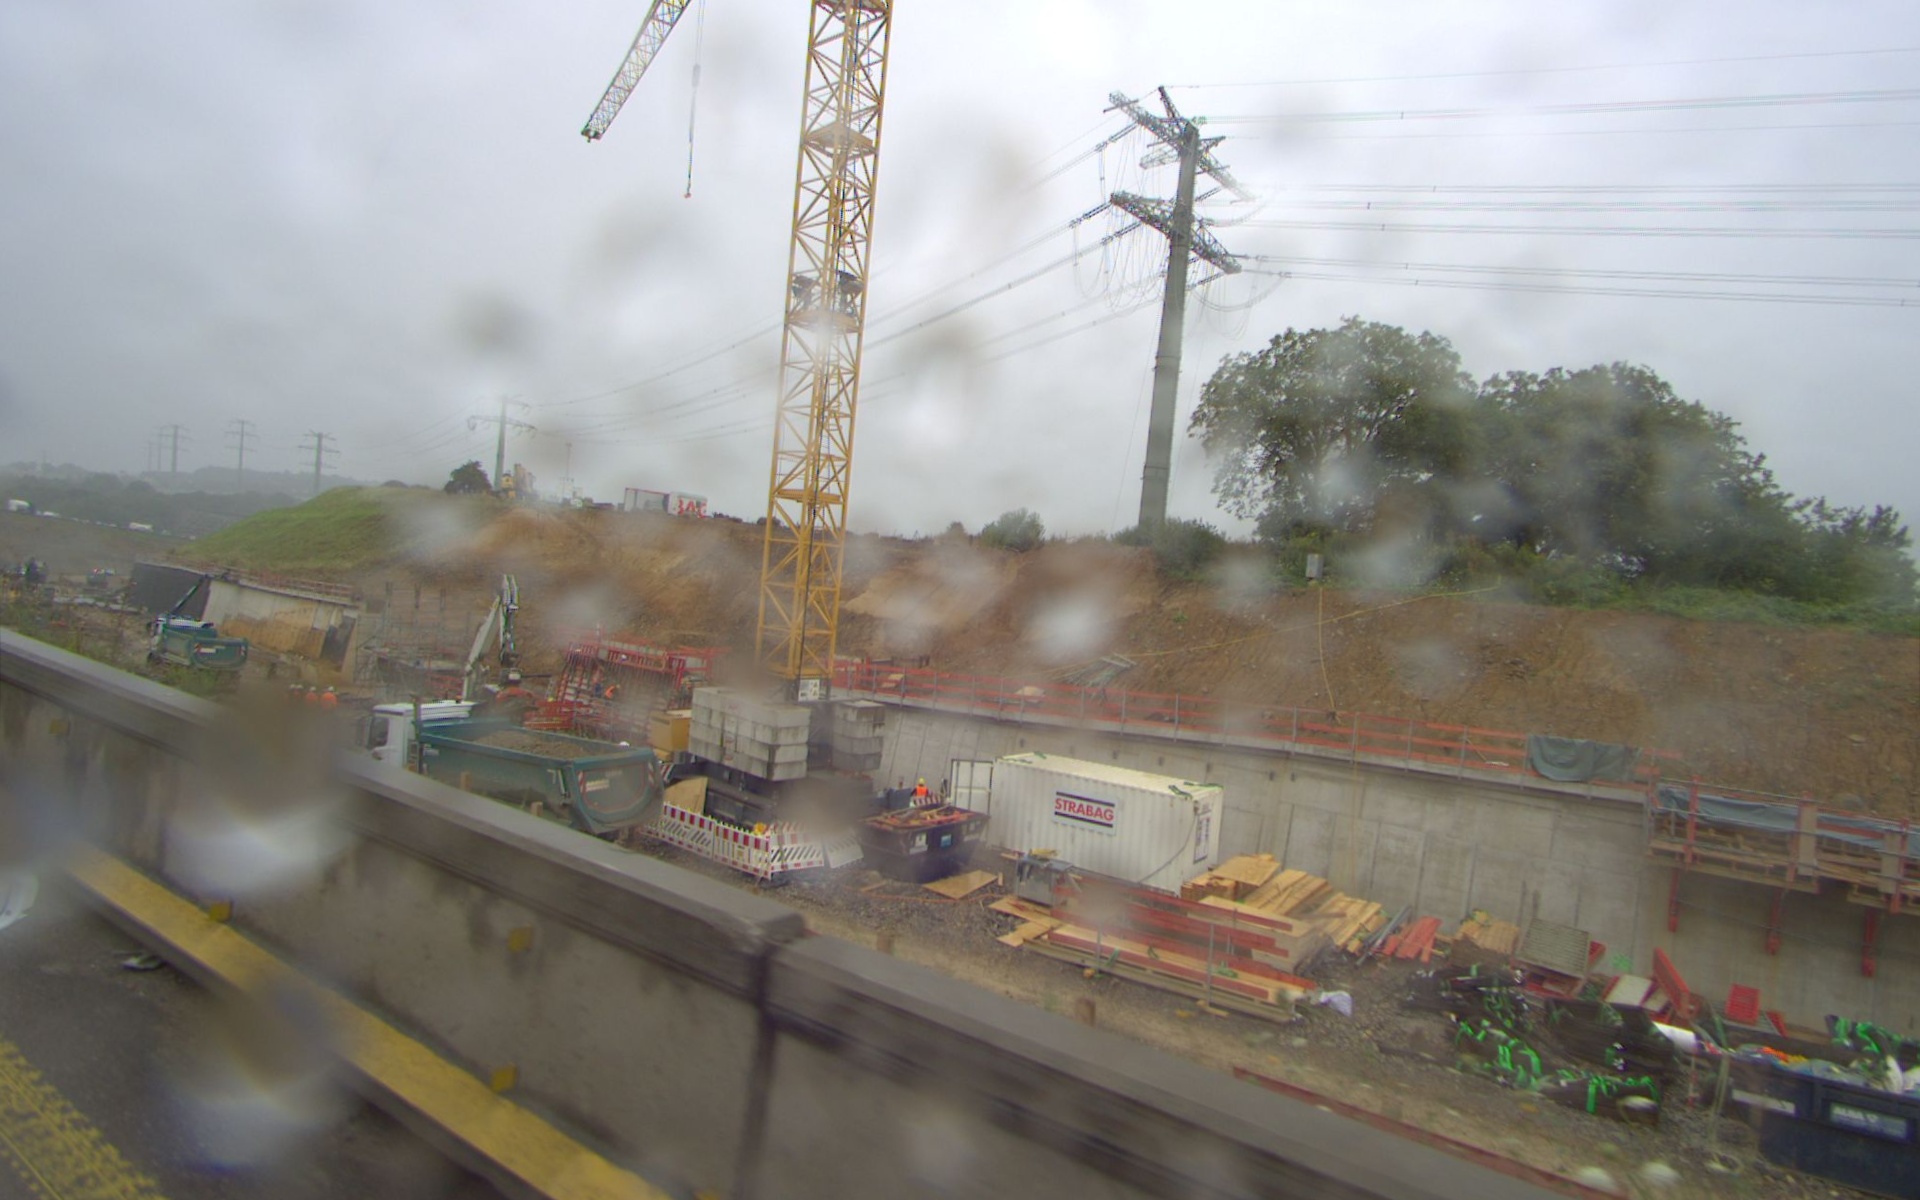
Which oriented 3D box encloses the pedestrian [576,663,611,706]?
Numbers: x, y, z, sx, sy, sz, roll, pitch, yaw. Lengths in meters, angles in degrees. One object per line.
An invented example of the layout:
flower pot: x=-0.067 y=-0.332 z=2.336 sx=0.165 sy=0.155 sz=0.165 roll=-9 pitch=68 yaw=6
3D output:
pedestrian: x=-18.971 y=4.379 z=52.108 sx=0.886 sy=2.013 sz=0.907 roll=5 pitch=-12 yaw=39

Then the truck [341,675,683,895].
truck: x=-11.120 y=4.189 z=24.565 sx=8.798 sy=3.544 sz=2.705 roll=6 pitch=-2 yaw=31

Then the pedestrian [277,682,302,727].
pedestrian: x=-29.989 y=4.667 z=44.986 sx=0.725 sy=1.891 sz=0.573 roll=6 pitch=-1 yaw=41

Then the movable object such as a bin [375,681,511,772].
movable object such as a bin: x=-18.774 y=4.562 z=36.568 sx=2.922 sy=2.769 sz=3.153 roll=6 pitch=-2 yaw=34

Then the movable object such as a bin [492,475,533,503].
movable object such as a bin: x=-48.223 y=-11.986 z=108.469 sx=3.913 sy=2.472 sz=2.426 roll=8 pitch=0 yaw=42

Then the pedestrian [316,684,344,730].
pedestrian: x=-28.239 y=4.793 z=45.103 sx=0.724 sy=1.967 sz=0.573 roll=7 pitch=-1 yaw=-18

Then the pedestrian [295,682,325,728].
pedestrian: x=-29.049 y=4.685 z=44.953 sx=0.721 sy=1.967 sz=0.576 roll=7 pitch=-1 yaw=6

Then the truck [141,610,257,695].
truck: x=-41.694 y=2.791 z=54.973 sx=8.933 sy=3.531 sz=2.729 roll=5 pitch=-2 yaw=39

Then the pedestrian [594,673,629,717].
pedestrian: x=-17.672 y=4.815 z=51.006 sx=0.886 sy=2.013 sz=0.907 roll=5 pitch=-12 yaw=39

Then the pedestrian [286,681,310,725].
pedestrian: x=-30.206 y=4.678 z=45.934 sx=0.567 sy=1.891 sz=0.732 roll=7 pitch=-1 yaw=-19
